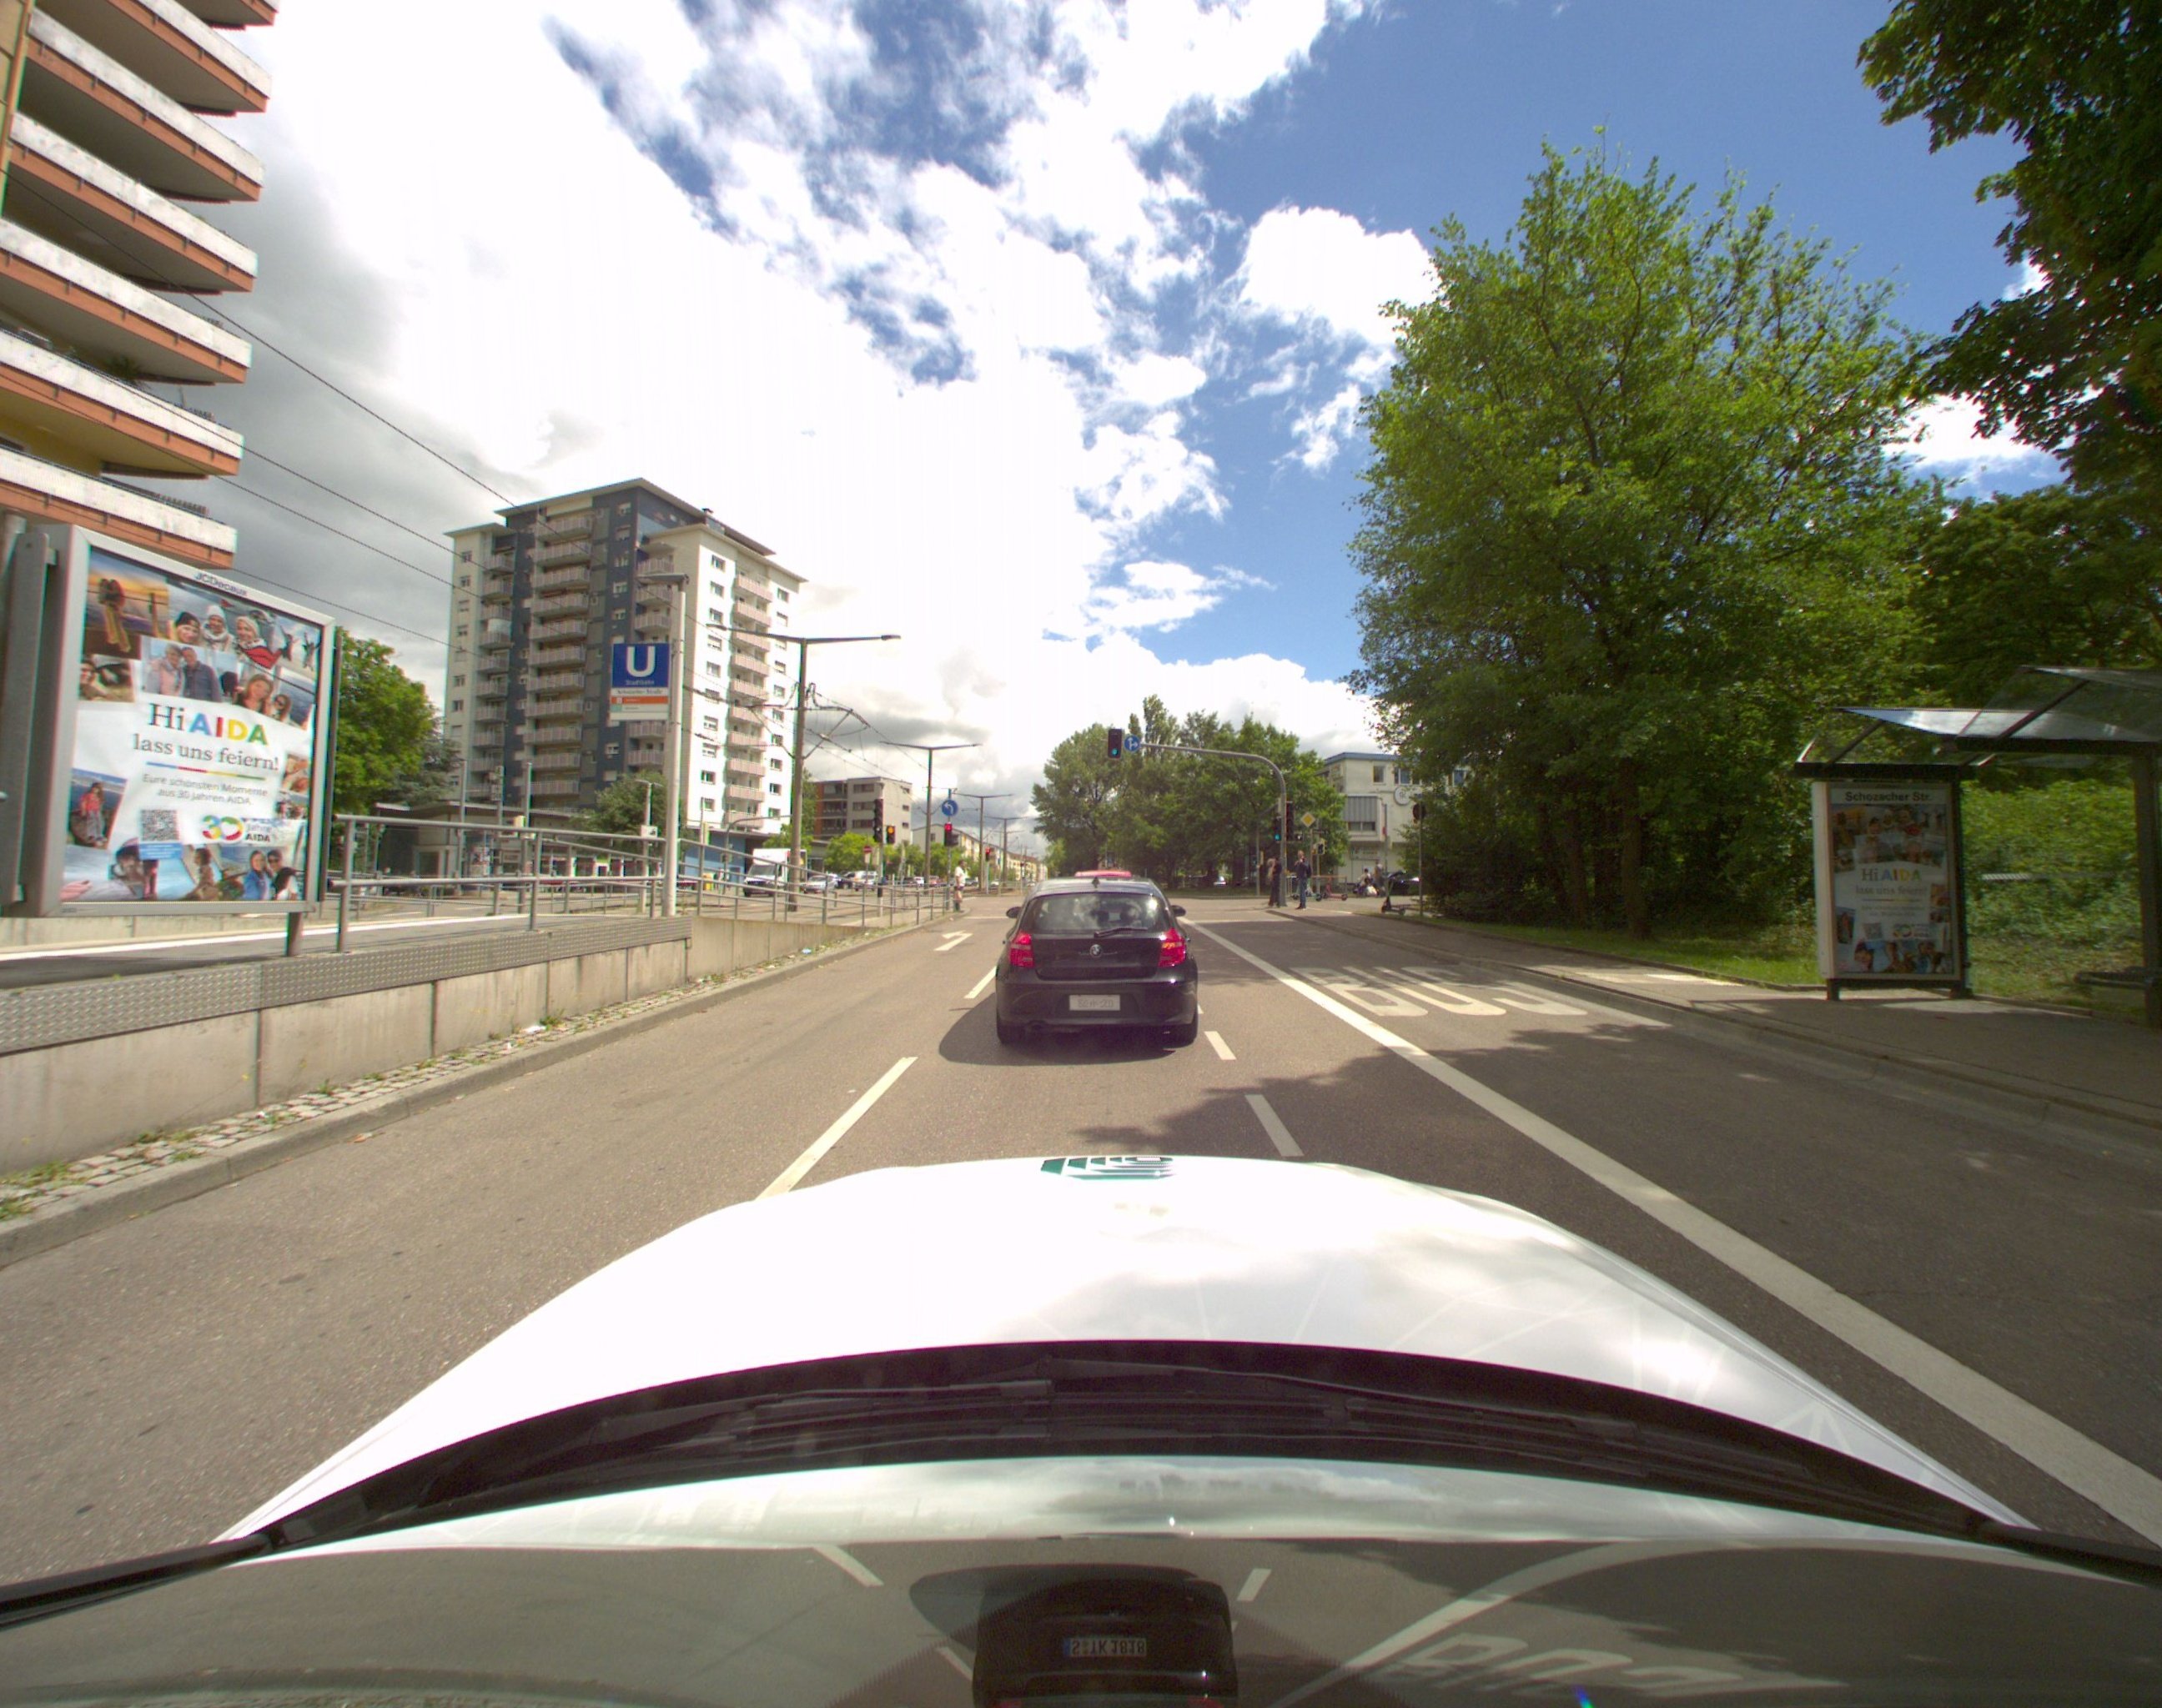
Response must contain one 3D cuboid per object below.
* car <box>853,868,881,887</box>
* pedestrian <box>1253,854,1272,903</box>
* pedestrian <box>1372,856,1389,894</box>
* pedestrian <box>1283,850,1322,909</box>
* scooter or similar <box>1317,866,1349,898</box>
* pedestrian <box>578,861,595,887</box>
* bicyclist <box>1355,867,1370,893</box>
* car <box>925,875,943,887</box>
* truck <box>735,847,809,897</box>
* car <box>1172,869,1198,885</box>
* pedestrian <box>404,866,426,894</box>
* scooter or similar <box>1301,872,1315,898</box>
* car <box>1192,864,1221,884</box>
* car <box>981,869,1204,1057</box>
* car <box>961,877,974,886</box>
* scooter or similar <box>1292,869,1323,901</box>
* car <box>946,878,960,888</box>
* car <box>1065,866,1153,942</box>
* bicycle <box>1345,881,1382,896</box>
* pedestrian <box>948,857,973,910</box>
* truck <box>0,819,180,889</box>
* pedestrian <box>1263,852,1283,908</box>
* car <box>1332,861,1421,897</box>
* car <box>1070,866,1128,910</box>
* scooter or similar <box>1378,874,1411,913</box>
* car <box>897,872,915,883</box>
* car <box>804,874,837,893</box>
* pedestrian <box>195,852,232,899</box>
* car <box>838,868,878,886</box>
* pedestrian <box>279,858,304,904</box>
[{"bbox_3d":[-20.480,2.233,78.134,1.586,1.756,3.775,0,-1,1],"label":"car"},{"bbox_3d":[6.617,0.903,29.716,0.632,1.766,0.519,0,-1,8],"label":"pedestrian"},{"bbox_3d":[13.595,0.958,36.997,0.651,1.713,0.464,-1,-1,28],"label":"pedestrian"},{"bbox_3d":[7.272,0.829,26.774,1.007,1.876,0.797,0,-1,-3],"label":"pedestrian"},{"bbox_3d":[10.212,1.139,33.032,1.145,1.272,0.556,1,-1,4],"label":"scooter or similar"},{"bbox_3d":[-39.371,1.573,64.852,0.851,2.014,0.852,-1,-1,29],"label":"pedestrian"},{"bbox_3d":[12.588,1.146,36.420,0.504,1.157,0.396,0,-1,-31],"label":"bicyclist"},{"bbox_3d":[-20.099,3.682,111.299,1.646,1.534,3.871,0,-1,0],"label":"car"},{"bbox_3d":[-20.365,1.181,54.118,2.275,3.118,7.312,0,-1,-2],"label":"truck"},{"bbox_3d":[11.427,2.530,89.798,1.862,1.662,3.987,0,-1,-9],"label":"car"},{"bbox_3d":[-35.032,1.340,42.830,0.557,1.468,0.663,0,-1,-2],"label":"pedestrian"},{"bbox_3d":[9.515,1.290,34.080,0.543,1.064,1.267,0,-1,16],"label":"scooter or similar"},{"bbox_3d":[12.108,1.948,78.877,1.724,1.871,3.990,0,-1,-7],"label":"car"},{"bbox_3d":[0.142,0.866,7.914,1.694,1.400,3.421,0,-1,2],"label":"car"},{"bbox_3d":[-20.717,5.049,148.868,1.646,1.534,3.871,0,-1,0],"label":"car"},{"bbox_3d":[8.926,1.227,32.076,1.105,1.235,0.540,0,-1,4],"label":"scooter or similar"},{"bbox_3d":[-20.294,4.552,129.265,1.646,1.534,3.871,0,-1,0],"label":"car"},{"bbox_3d":[0.576,0.960,16.846,1.632,1.400,3.421,0,-1,2],"label":"car"},{"bbox_3d":[12.614,1.517,36.345,0.536,0.610,1.575,1,-1,-31],"label":"bicycle"},{"bbox_3d":[-4.007,0.981,27.173,0.685,1.734,0.688,-1,-1,1],"label":"pedestrian"},{"bbox_3d":[-34.547,0.020,28.109,4.262,2.290,2.352,0,-1,2],"label":"truck"},{"bbox_3d":[6.577,0.885,27.897,0.632,1.876,0.519,0,-1,8],"label":"pedestrian"},{"bbox_3d":[17.362,1.434,47.985,4.529,2.014,1.996,0,-1,-6],"label":"car"},{"bbox_3d":[0.671,1.153,29.281,1.893,1.422,4.540,0,-1,2],"label":"car"},{"bbox_3d":[10.682,1.336,27.738,0.886,1.230,0.455,4,-1,2],"label":"scooter or similar"},{"bbox_3d":[-23.990,3.256,111.995,1.586,1.474,3.775,0,-1,1],"label":"car"},{"bbox_3d":[-20.516,2.288,64.241,1.402,1.461,3.773,0,-1,0],"label":"car"},{"bbox_3d":[-33.269,0.807,31.235,0.654,1.776,0.662,0,-1,0],"label":"pedestrian"},{"bbox_3d":[-24.377,2.492,89.135,3.944,1.975,1.637,0,-1,-41],"label":"car"},{"bbox_3d":[-34.911,1.190,36.010,0.538,2.014,0.560,0,-1,-8],"label":"pedestrian"}]
